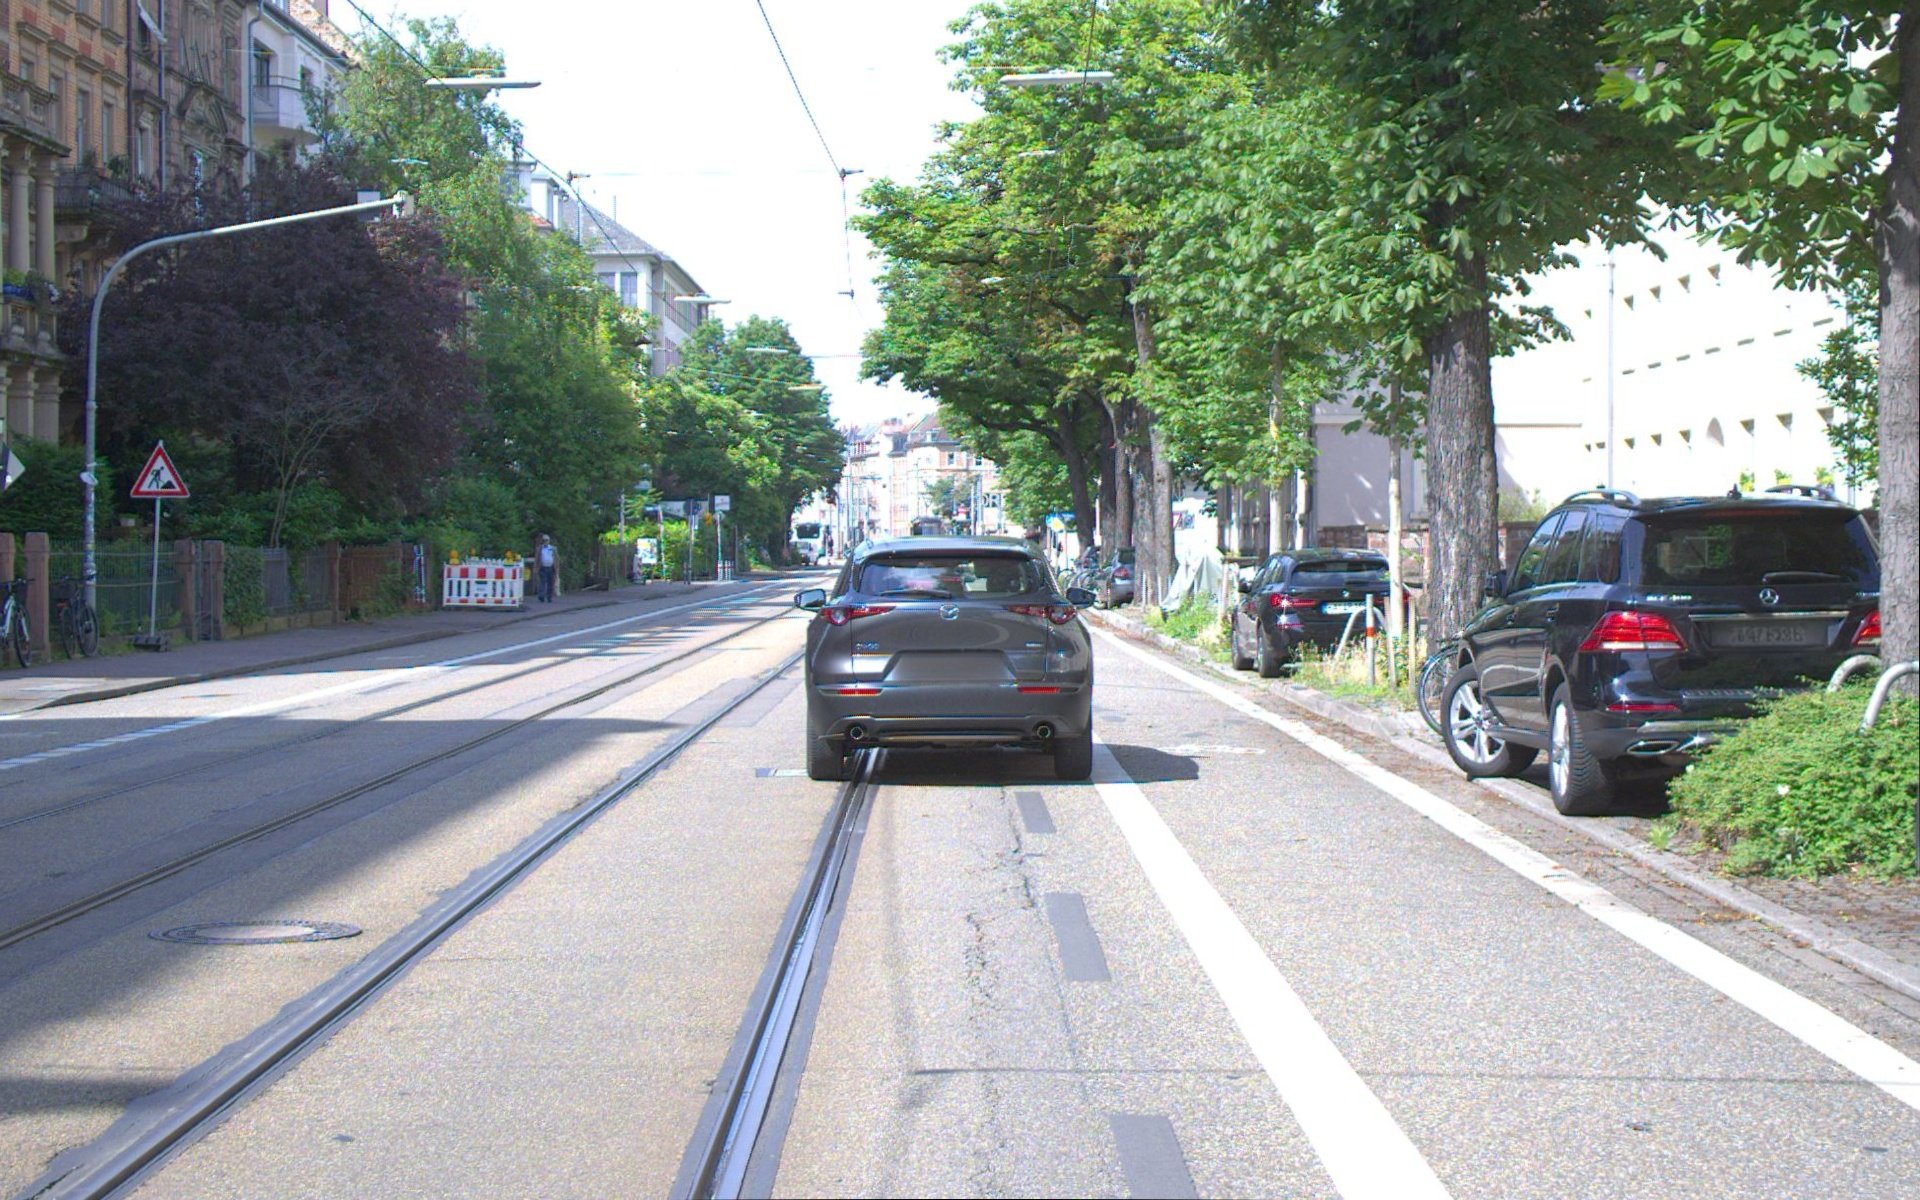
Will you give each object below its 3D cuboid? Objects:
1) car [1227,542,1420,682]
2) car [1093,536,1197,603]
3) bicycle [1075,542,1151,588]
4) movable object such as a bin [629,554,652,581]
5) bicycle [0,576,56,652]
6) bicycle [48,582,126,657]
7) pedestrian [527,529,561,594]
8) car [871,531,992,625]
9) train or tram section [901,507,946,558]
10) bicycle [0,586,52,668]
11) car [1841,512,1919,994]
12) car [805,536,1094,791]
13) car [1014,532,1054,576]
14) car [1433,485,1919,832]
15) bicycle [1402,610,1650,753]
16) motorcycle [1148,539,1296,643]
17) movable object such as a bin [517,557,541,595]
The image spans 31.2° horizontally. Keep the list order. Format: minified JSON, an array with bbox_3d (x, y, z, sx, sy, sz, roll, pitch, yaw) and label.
[{"bbox_3d":[4.130,0.099,39.633,1.706,1.474,4.197,2,1,0],"label":"car"},{"bbox_3d":[4.172,-0.699,78.089,1.846,1.404,4.395,-2,1,-3],"label":"car"},{"bbox_3d":[4.058,-0.912,91.057,1.938,1.172,0.513,-1,0,12],"label":"bicycle"},{"bbox_3d":[-11.709,-1.197,126.010,0.745,0.984,1.114,2,1,0],"label":"movable object such as a bin"},{"bbox_3d":[-12.542,0.180,43.703,1.961,0.943,0.532,-1,1,-5],"label":"bicycle"},{"bbox_3d":[-11.515,0.245,45.368,0.530,0.943,1.968,0,1,0],"label":"bicycle"},{"bbox_3d":[-10.925,-1.009,90.262,0.822,1.700,0.891,0,1,-3],"label":"pedestrian"},{"bbox_3d":[-0.494,-0.402,59.926,1.993,1.523,4.000,2,1,-1],"label":"car"},{"bbox_3d":[-2.783,-5.036,257.218,2.571,3.759,13.028,0,1,-4],"label":"train or tram section"},{"bbox_3d":[-11.466,0.316,41.410,0.530,0.943,1.968,0,1,0],"label":"bicycle"},{"bbox_3d":[4.225,0.543,10.444,1.862,1.647,4.638,0,1,-1],"label":"car"},{"bbox_3d":[-0.077,0.349,22.334,1.720,1.521,3.590,0,1,0],"label":"car"},{"bbox_3d":[3.316,-2.073,154.047,1.720,1.962,4.207,0,1,1],"label":"car"},{"bbox_3d":[4.037,0.247,20.164,1.827,1.776,4.733,-1,1,0],"label":"car"},{"bbox_3d":[4.137,0.589,25.208,1.708,1.003,0.638,-1,1,0],"label":"bicycle"},{"bbox_3d":[4.214,-0.165,55.427,2.385,1.592,0.677,3,2,39],"label":"motorcycle"},{"bbox_3d":[-12.445,-0.706,99.283,0.538,1.090,0.789,0,1,5],"label":"movable object such as a bin"}]
